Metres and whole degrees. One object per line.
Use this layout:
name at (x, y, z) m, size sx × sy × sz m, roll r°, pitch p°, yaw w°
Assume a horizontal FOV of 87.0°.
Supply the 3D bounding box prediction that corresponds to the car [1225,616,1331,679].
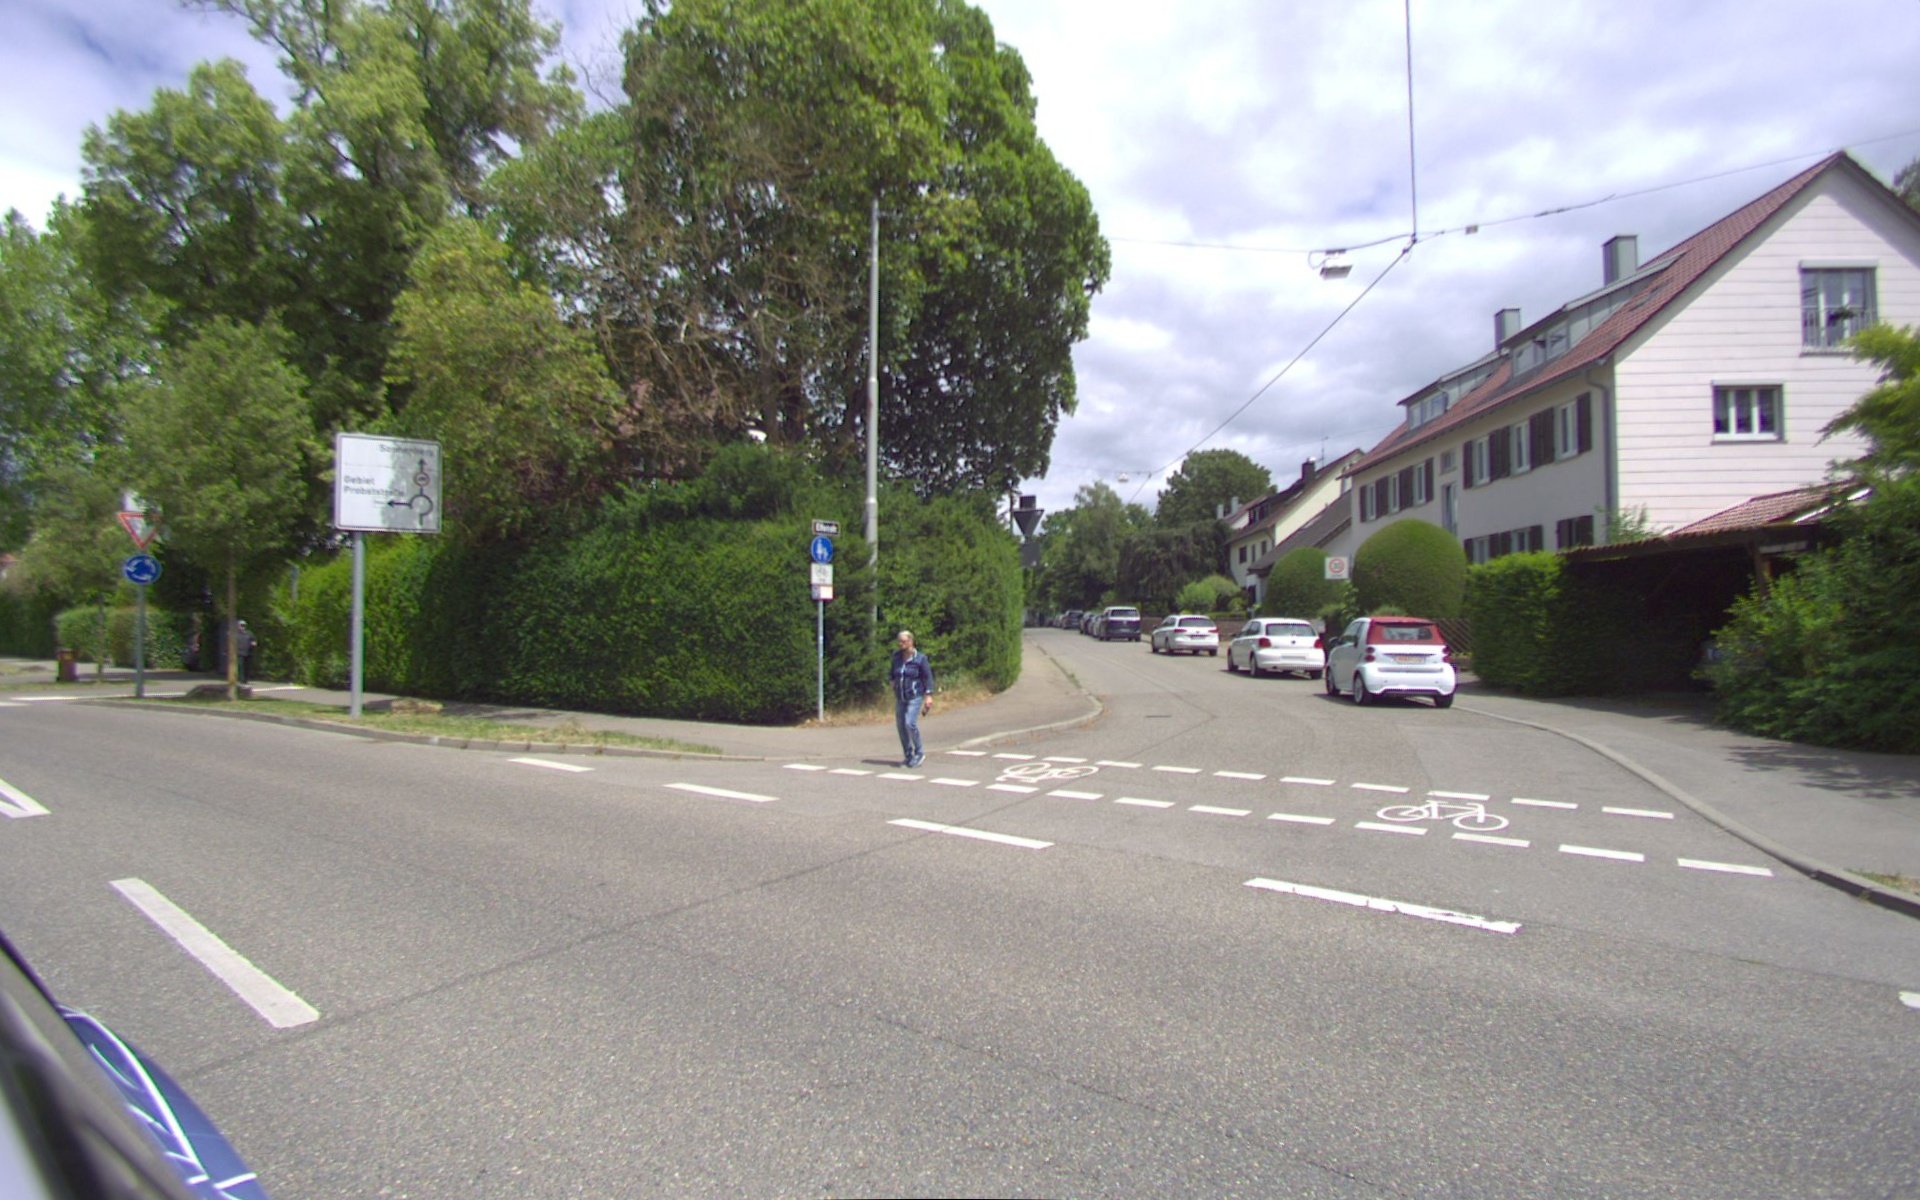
car at (7.909, 1.139, 25.501) m, size 1.693 × 1.466 × 3.531 m, roll 0°, pitch -1°, yaw 3°

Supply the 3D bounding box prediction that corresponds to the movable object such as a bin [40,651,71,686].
movable object such as a bin at (-24.873, 1.878, 27.836) m, size 0.408 × 0.942 × 0.440 m, roll 0°, pitch -3°, yaw 12°

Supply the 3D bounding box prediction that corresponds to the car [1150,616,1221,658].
car at (8.268, 1.321, 37.467) m, size 1.682 × 1.416 × 4.280 m, roll 0°, pitch -1°, yaw 0°

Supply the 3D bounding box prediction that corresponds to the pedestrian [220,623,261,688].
pedestrian at (-19.321, 1.470, 27.178) m, size 0.694 × 1.704 × 0.736 m, roll -1°, pitch -2°, yaw 42°

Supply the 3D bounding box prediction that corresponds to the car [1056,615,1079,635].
car at (10.867, 2.522, 102.757) m, size 1.973 × 2.029 × 3.997 m, roll 0°, pitch -1°, yaw 2°

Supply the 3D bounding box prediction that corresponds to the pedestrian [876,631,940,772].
pedestrian at (-0.575, 1.117, 11.383) m, size 0.620 × 1.520 × 0.730 m, roll 0°, pitch -1°, yaw 5°

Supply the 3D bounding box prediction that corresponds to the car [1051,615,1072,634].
car at (11.217, 2.729, 112.303) m, size 1.973 × 2.029 × 3.997 m, roll 0°, pitch -1°, yaw 2°

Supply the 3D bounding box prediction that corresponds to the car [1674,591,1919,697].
car at (13.611, 0.645, 15.584) m, size 3.943 × 1.521 × 1.728 m, roll -1°, pitch -1°, yaw -1°

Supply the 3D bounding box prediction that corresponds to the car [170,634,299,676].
car at (-26.758, 2.043, 37.397) m, size 1.664 × 1.408 × 3.530 m, roll -1°, pitch -5°, yaw 40°

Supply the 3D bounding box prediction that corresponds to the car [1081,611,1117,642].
car at (9.511, 1.799, 69.406) m, size 1.973 × 2.029 × 3.997 m, roll 0°, pitch -1°, yaw 2°

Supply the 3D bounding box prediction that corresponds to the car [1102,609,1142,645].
car at (8.864, 1.486, 55.738) m, size 1.941 × 1.885 × 3.993 m, roll 0°, pitch -1°, yaw 6°

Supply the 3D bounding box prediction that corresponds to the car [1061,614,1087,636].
car at (10.436, 2.303, 92.803) m, size 1.973 × 2.029 × 3.997 m, roll 0°, pitch -1°, yaw 2°

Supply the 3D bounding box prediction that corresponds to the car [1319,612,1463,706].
car at (7.765, 1.016, 18.470) m, size 1.569 × 1.567 × 2.775 m, roll 0°, pitch -1°, yaw 4°
